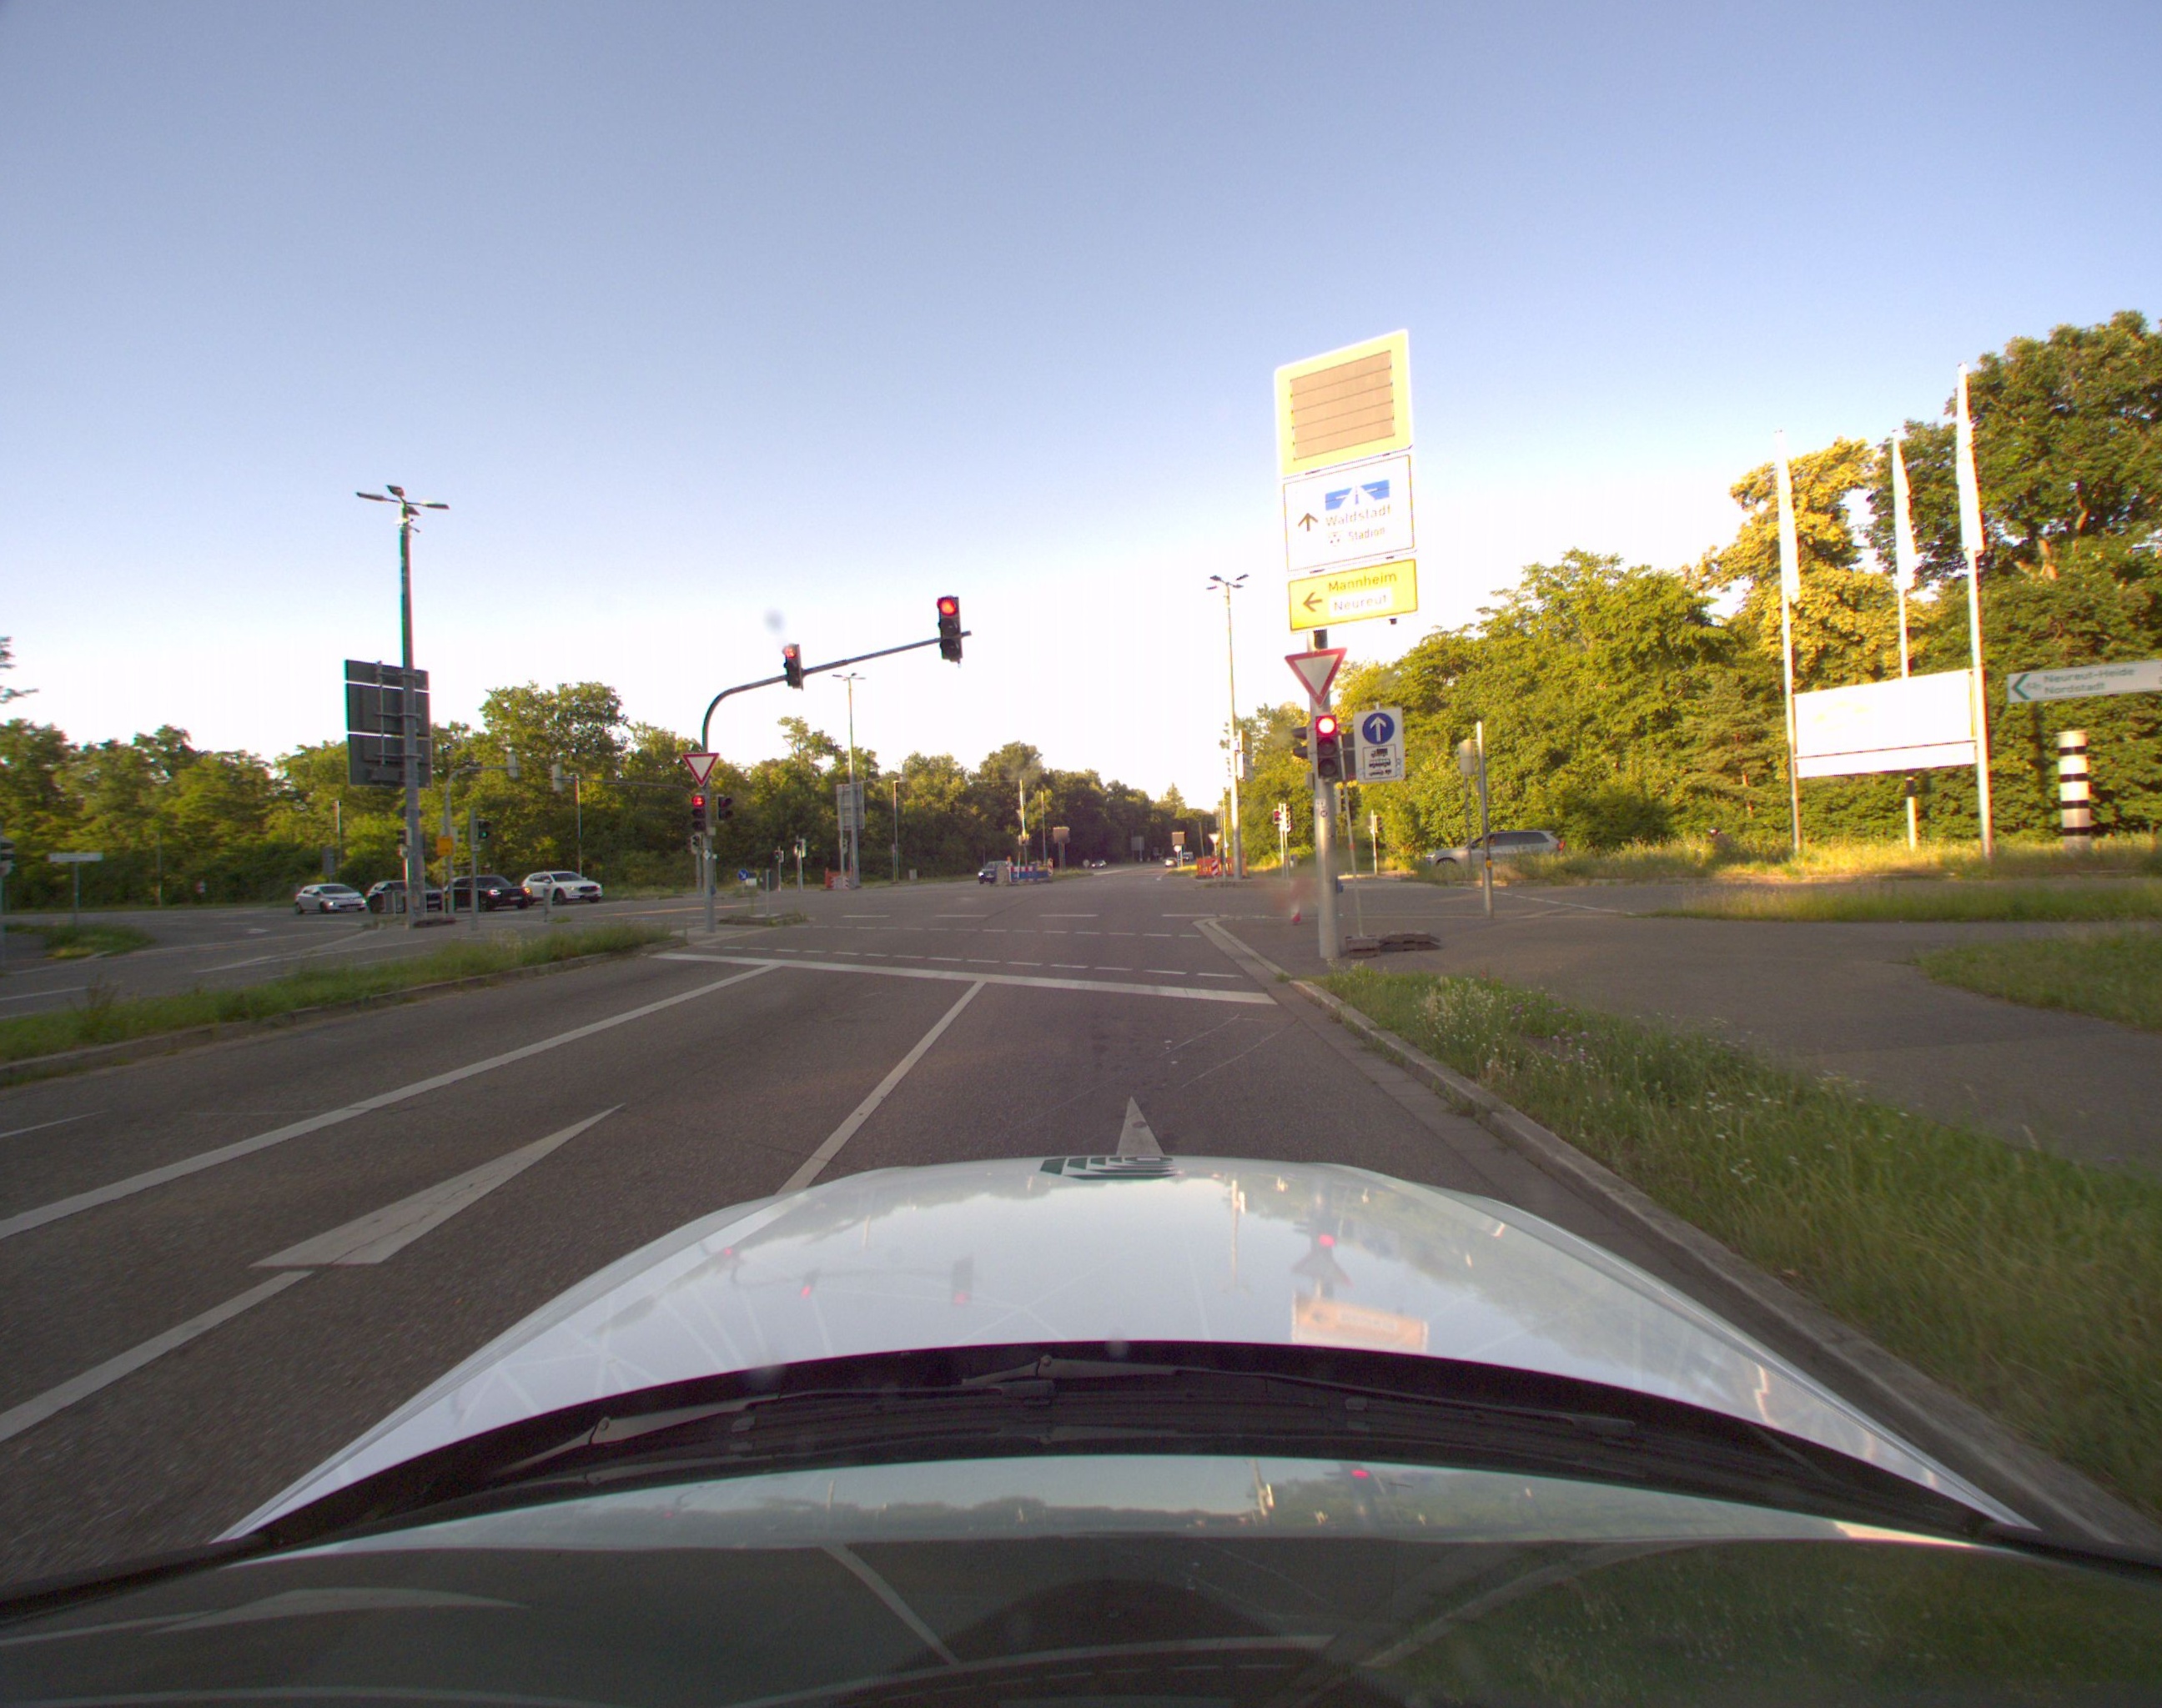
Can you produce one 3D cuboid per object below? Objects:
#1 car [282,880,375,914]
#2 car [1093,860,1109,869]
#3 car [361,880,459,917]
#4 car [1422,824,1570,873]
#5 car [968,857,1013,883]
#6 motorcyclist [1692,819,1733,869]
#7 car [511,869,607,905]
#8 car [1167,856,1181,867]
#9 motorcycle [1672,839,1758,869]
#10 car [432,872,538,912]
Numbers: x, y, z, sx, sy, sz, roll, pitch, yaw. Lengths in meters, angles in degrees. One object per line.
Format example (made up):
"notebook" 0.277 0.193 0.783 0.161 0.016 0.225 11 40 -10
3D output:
"car" -40.545 2.334 43.907 4.206 1.640 2.011 -2 0 22
"car" 3.459 1.814 140.376 1.980 1.420 4.013 -2 0 12
"car" -33.262 2.201 40.370 4.205 1.640 2.011 -2 0 24
"car" 15.511 -0.198 30.712 4.772 1.598 2.011 -3 0 24
"car" -5.955 1.039 53.904 1.984 1.530 4.685 -2 0 5
"motorcyclist" 21.015 -0.329 27.111 0.878 1.595 0.658 -2 0 24
"car" -26.096 1.641 40.740 4.205 1.640 2.011 -2 0 24
"car" 14.705 1.162 128.899 1.982 1.618 4.010 -2 0 9
"motorcycle" 21.066 0.008 27.099 2.124 0.910 0.666 -2 0 24
"car" -26.939 1.720 36.810 4.205 1.640 2.011 -2 0 24
